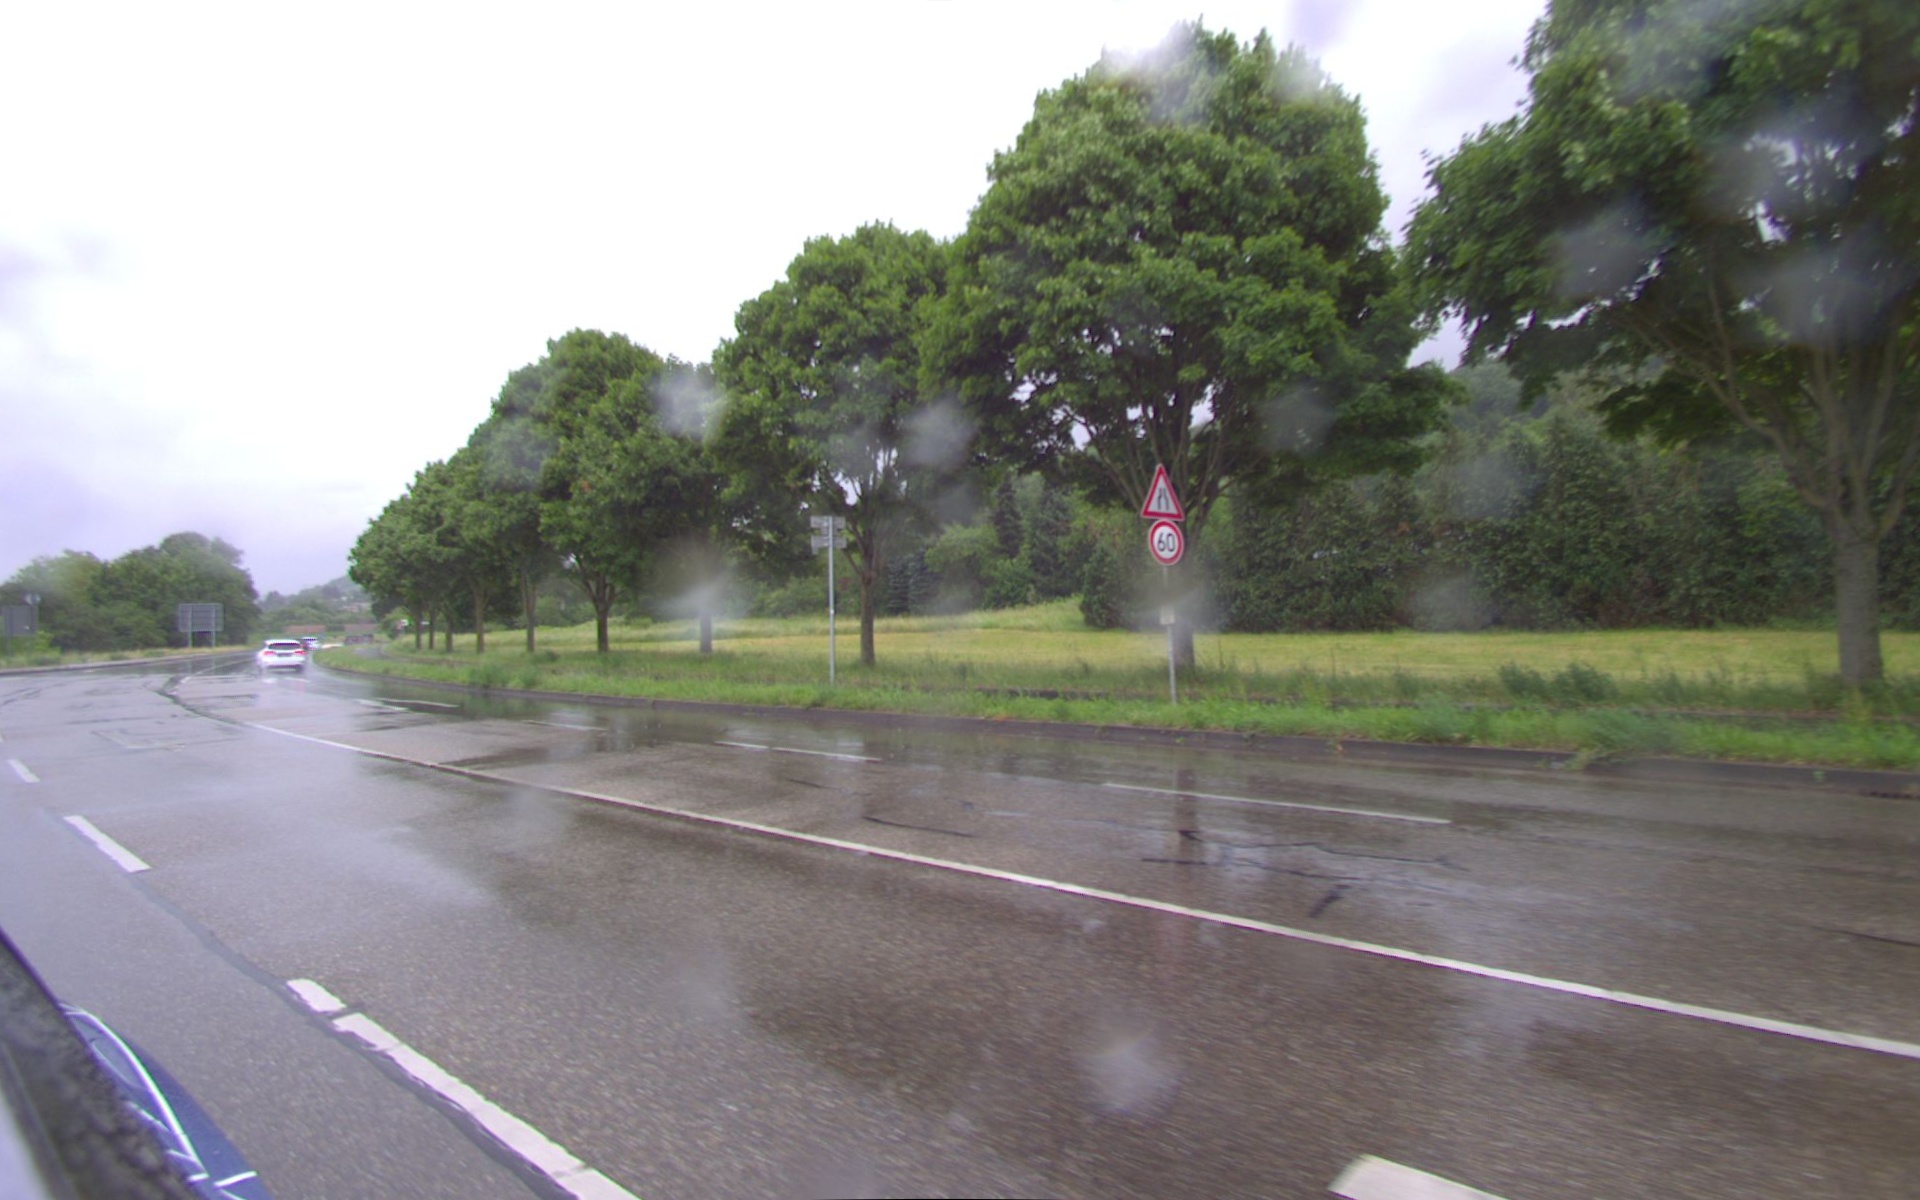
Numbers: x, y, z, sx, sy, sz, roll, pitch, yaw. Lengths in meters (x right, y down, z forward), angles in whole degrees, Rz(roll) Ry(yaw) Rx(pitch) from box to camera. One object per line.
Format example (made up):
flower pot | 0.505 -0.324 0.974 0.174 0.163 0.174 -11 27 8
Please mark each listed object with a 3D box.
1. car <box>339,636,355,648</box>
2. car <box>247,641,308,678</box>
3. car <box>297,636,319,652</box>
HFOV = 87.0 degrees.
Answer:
car | -86.586 5.929 142.988 1.898 1.756 4.300 1 -2 -32
car | -31.761 2.733 47.053 1.855 1.585 4.652 1 -2 -40
car | -62.854 4.254 97.588 1.715 1.498 4.022 1 -2 -32
